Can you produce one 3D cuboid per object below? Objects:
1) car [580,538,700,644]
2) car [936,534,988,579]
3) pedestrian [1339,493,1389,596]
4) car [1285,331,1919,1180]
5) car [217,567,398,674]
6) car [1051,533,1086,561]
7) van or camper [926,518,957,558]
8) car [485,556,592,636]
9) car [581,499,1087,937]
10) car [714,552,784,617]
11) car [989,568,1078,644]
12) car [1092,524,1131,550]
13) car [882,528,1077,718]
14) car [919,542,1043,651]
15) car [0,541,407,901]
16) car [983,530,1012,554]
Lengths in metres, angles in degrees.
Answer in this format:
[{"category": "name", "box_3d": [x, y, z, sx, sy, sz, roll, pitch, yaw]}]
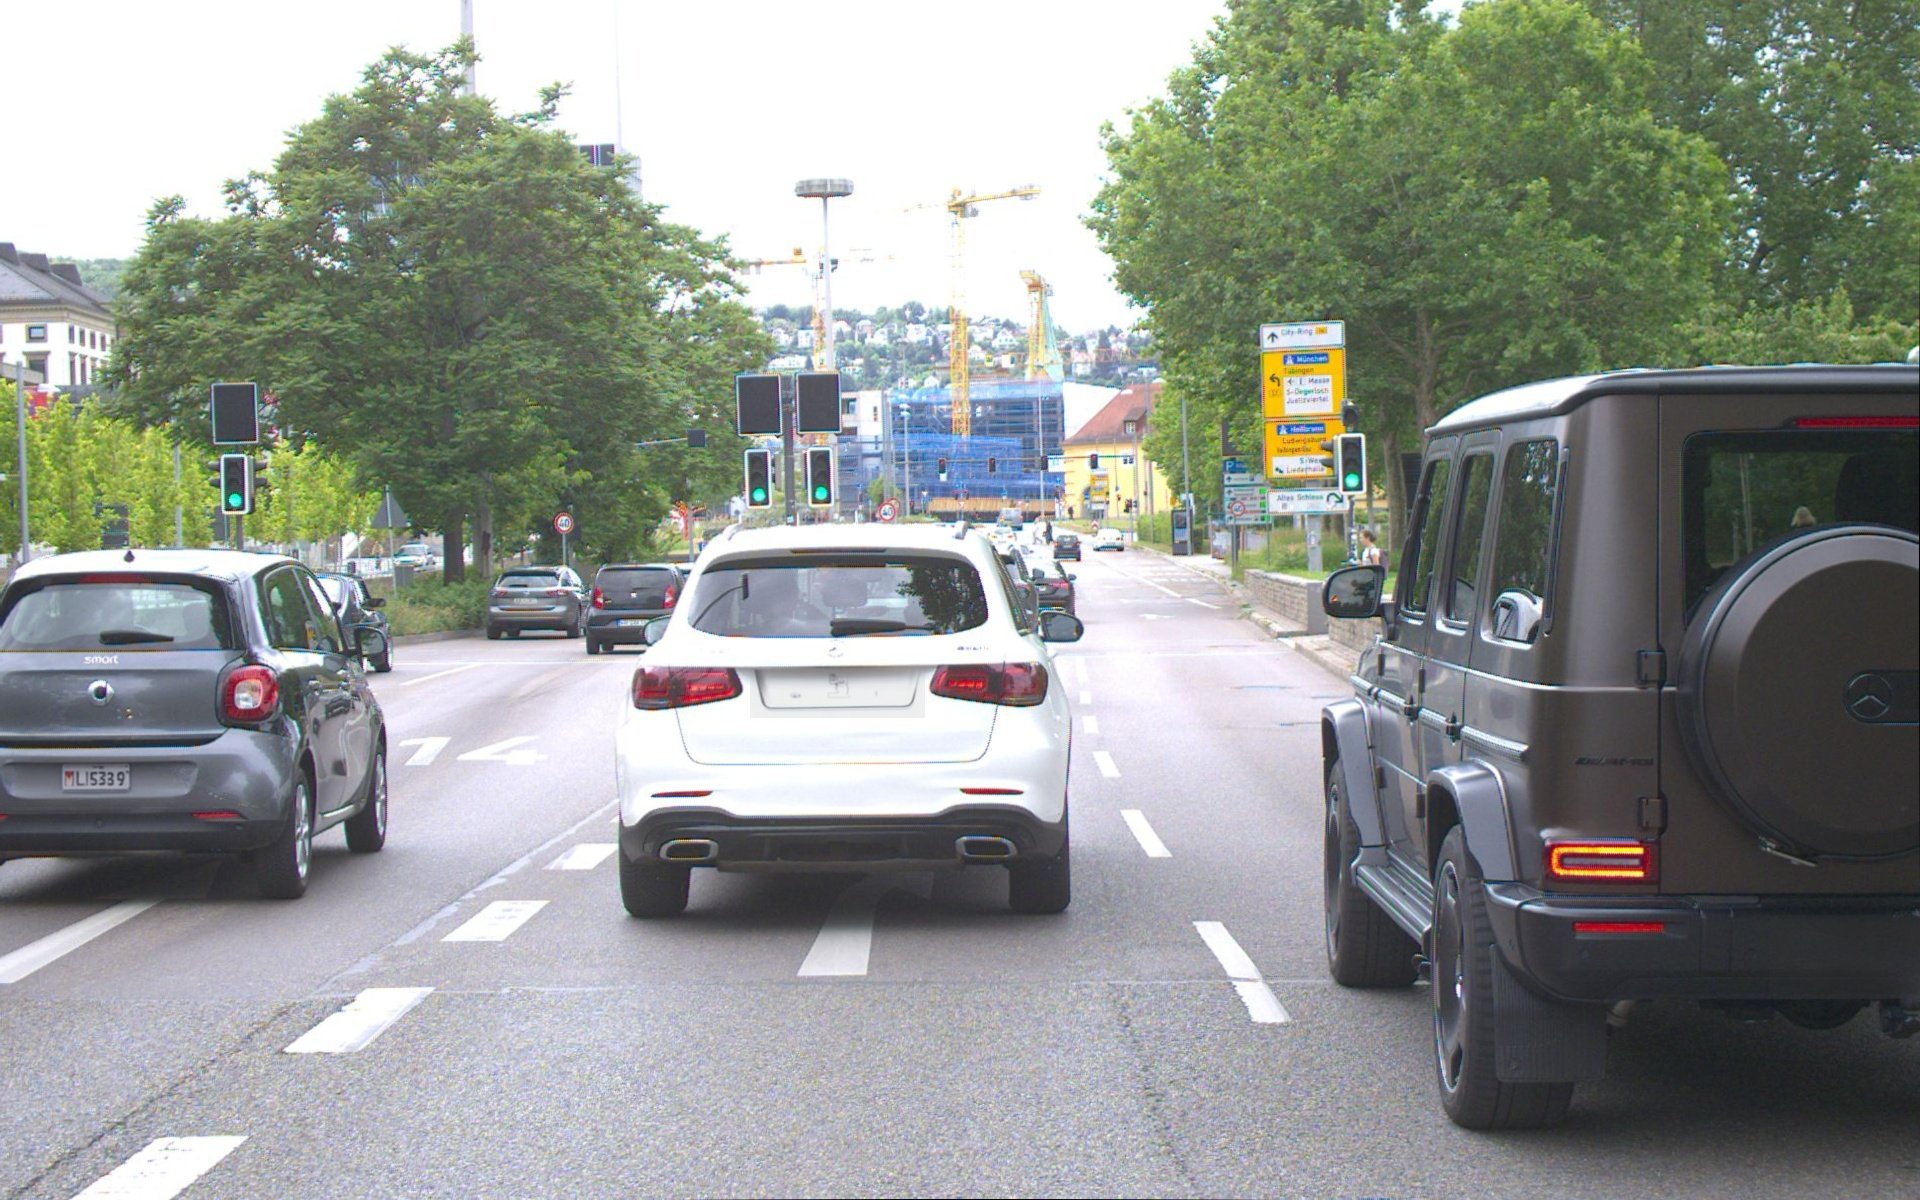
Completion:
[{"category": "car", "box_3d": [-5.240, -0.174, 56.757, 1.719, 1.673, 4.000, 1, 1, -2]}, {"category": "car", "box_3d": [0.099, -1.761, 140.147, 1.993, 1.751, 4.000, 1, 0, 1]}, {"category": "pedestrian", "box_3d": [6.542, -0.897, 55.661, 0.697, 1.650, 0.684, 1, 0, 0]}, {"category": "car", "box_3d": [2.174, 0.352, 10.047, 1.977, 1.887, 4.707, 1, 0, 0]}, {"category": "car", "box_3d": [-8.502, 0.239, 45.077, 1.719, 1.288, 4.000, 1, 1, -2]}, {"category": "car", "box_3d": [6.216, -3.047, 197.096, 1.719, 1.579, 4.000, 1, 1, -2]}, {"category": "van or camper", "box_3d": [-1.170, -3.867, 215.125, 1.922, 2.312, 4.000, 0, -1, -1]}, {"category": "car", "box_3d": [-8.496, -0.106, 69.610, 1.753, 1.548, 4.000, 1, 1, -1]}, {"category": "car", "box_3d": [-0.522, 0.456, 15.371, 1.940, 1.678, 4.000, 1, 0, -1]}, {"category": "car", "box_3d": [-5.327, -0.416, 86.892, 1.719, 1.579, 4.001, 1, 1, -3]}, {"category": "car", "box_3d": [1.584, 0.111, 75.628, 1.719, 1.579, 4.000, 1, 1, -2]}, {"category": "car", "box_3d": [9.794, -4.054, 222.277, 1.993, 1.612, 4.001, 1, 0, -5]}, {"category": "car", "box_3d": [0.182, 0.207, 31.834, 1.672, 1.622, 4.000, 1, 0, 0]}, {"category": "car", "box_3d": [0.287, -0.079, 52.841, 1.719, 1.579, 4.000, 1, 1, -2]}, {"category": "car", "box_3d": [-3.693, 0.505, 16.181, 1.627, 1.504, 3.540, 0, 0, 0]}, {"category": "car", "box_3d": [2.473, -3.854, 228.869, 1.719, 1.579, 4.000, 1, 1, -2]}]
